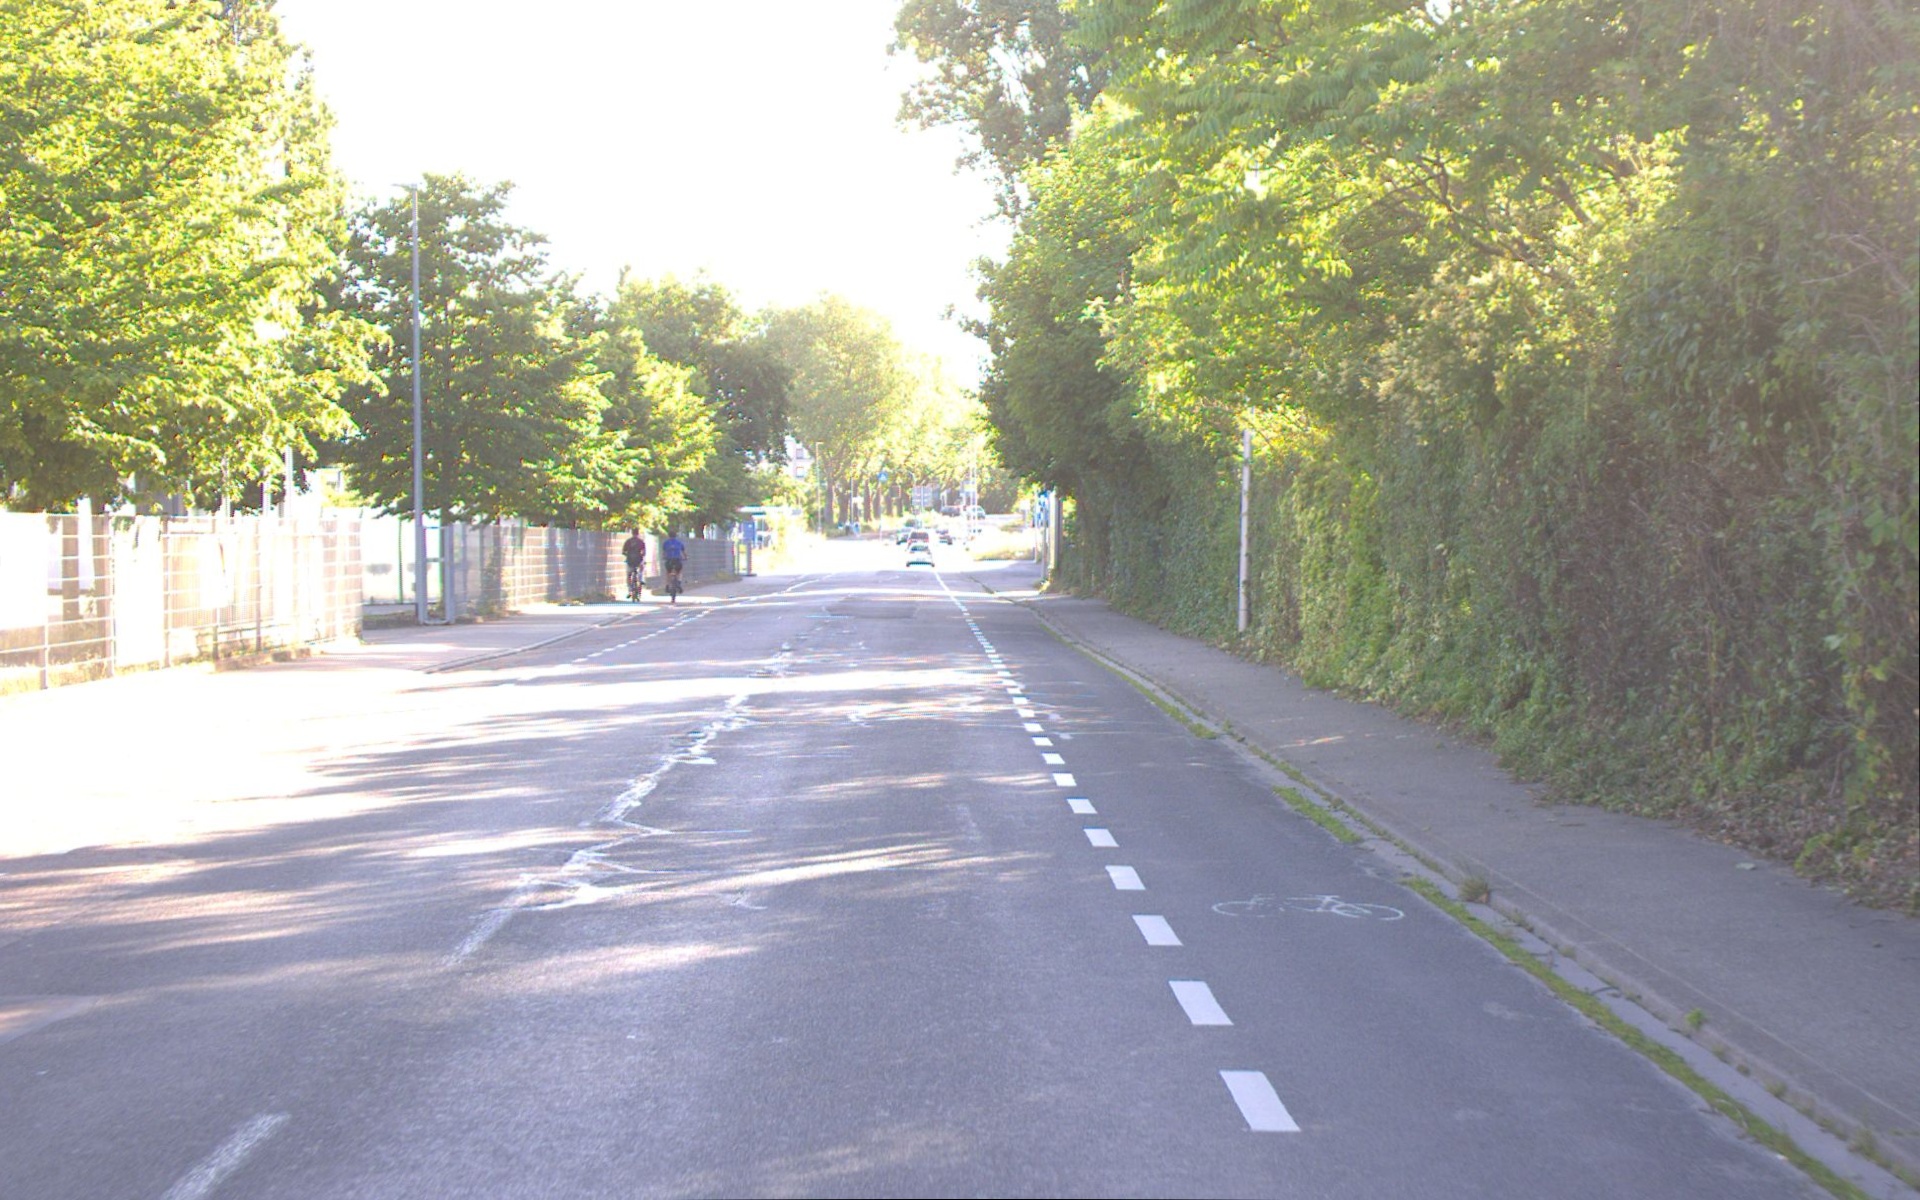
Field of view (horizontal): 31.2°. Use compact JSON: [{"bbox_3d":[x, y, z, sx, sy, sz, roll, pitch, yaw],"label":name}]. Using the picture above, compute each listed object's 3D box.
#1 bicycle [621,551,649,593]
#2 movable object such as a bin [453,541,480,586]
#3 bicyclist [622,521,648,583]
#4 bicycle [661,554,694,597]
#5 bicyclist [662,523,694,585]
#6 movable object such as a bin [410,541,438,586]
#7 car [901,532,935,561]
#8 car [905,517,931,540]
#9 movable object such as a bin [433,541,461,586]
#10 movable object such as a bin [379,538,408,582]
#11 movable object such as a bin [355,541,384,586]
[{"bbox_3d":[-8.185,-0.706,86.629,0.563,1.030,1.351,2,1,-1],"label":"bicycle"},{"bbox_3d":[-12.073,-0.901,84.155,0.463,1.072,1.570,0,1,-1],"label":"movable object such as a bin"},{"bbox_3d":[-8.172,-1.212,86.540,0.560,1.528,0.689,2,1,-1],"label":"bicyclist"},{"bbox_3d":[-7.083,-0.610,86.282,0.689,1.030,1.351,2,1,-1],"label":"bicycle"},{"bbox_3d":[-7.069,-1.162,86.146,0.689,1.526,0.722,2,1,-1],"label":"bicyclist"},{"bbox_3d":[-13.133,-0.898,84.266,0.463,1.072,1.570,0,1,-1],"label":"movable object such as a bin"},{"bbox_3d":[-2.541,-3.270,208.639,1.942,1.645,4.310,2,1,-1],"label":"car"},{"bbox_3d":[-3.150,-5.382,258.413,1.942,1.645,4.310,2,1,-1],"label":"car"},{"bbox_3d":[-12.589,-0.900,84.332,0.463,1.072,1.570,0,1,-1],"label":"movable object such as a bin"},{"bbox_3d":[-13.869,-0.979,84.185,0.463,1.072,1.570,0,1,-1],"label":"movable object such as a bin"},{"bbox_3d":[-14.443,-0.893,84.121,0.463,1.072,1.570,0,1,-1],"label":"movable object such as a bin"}]
